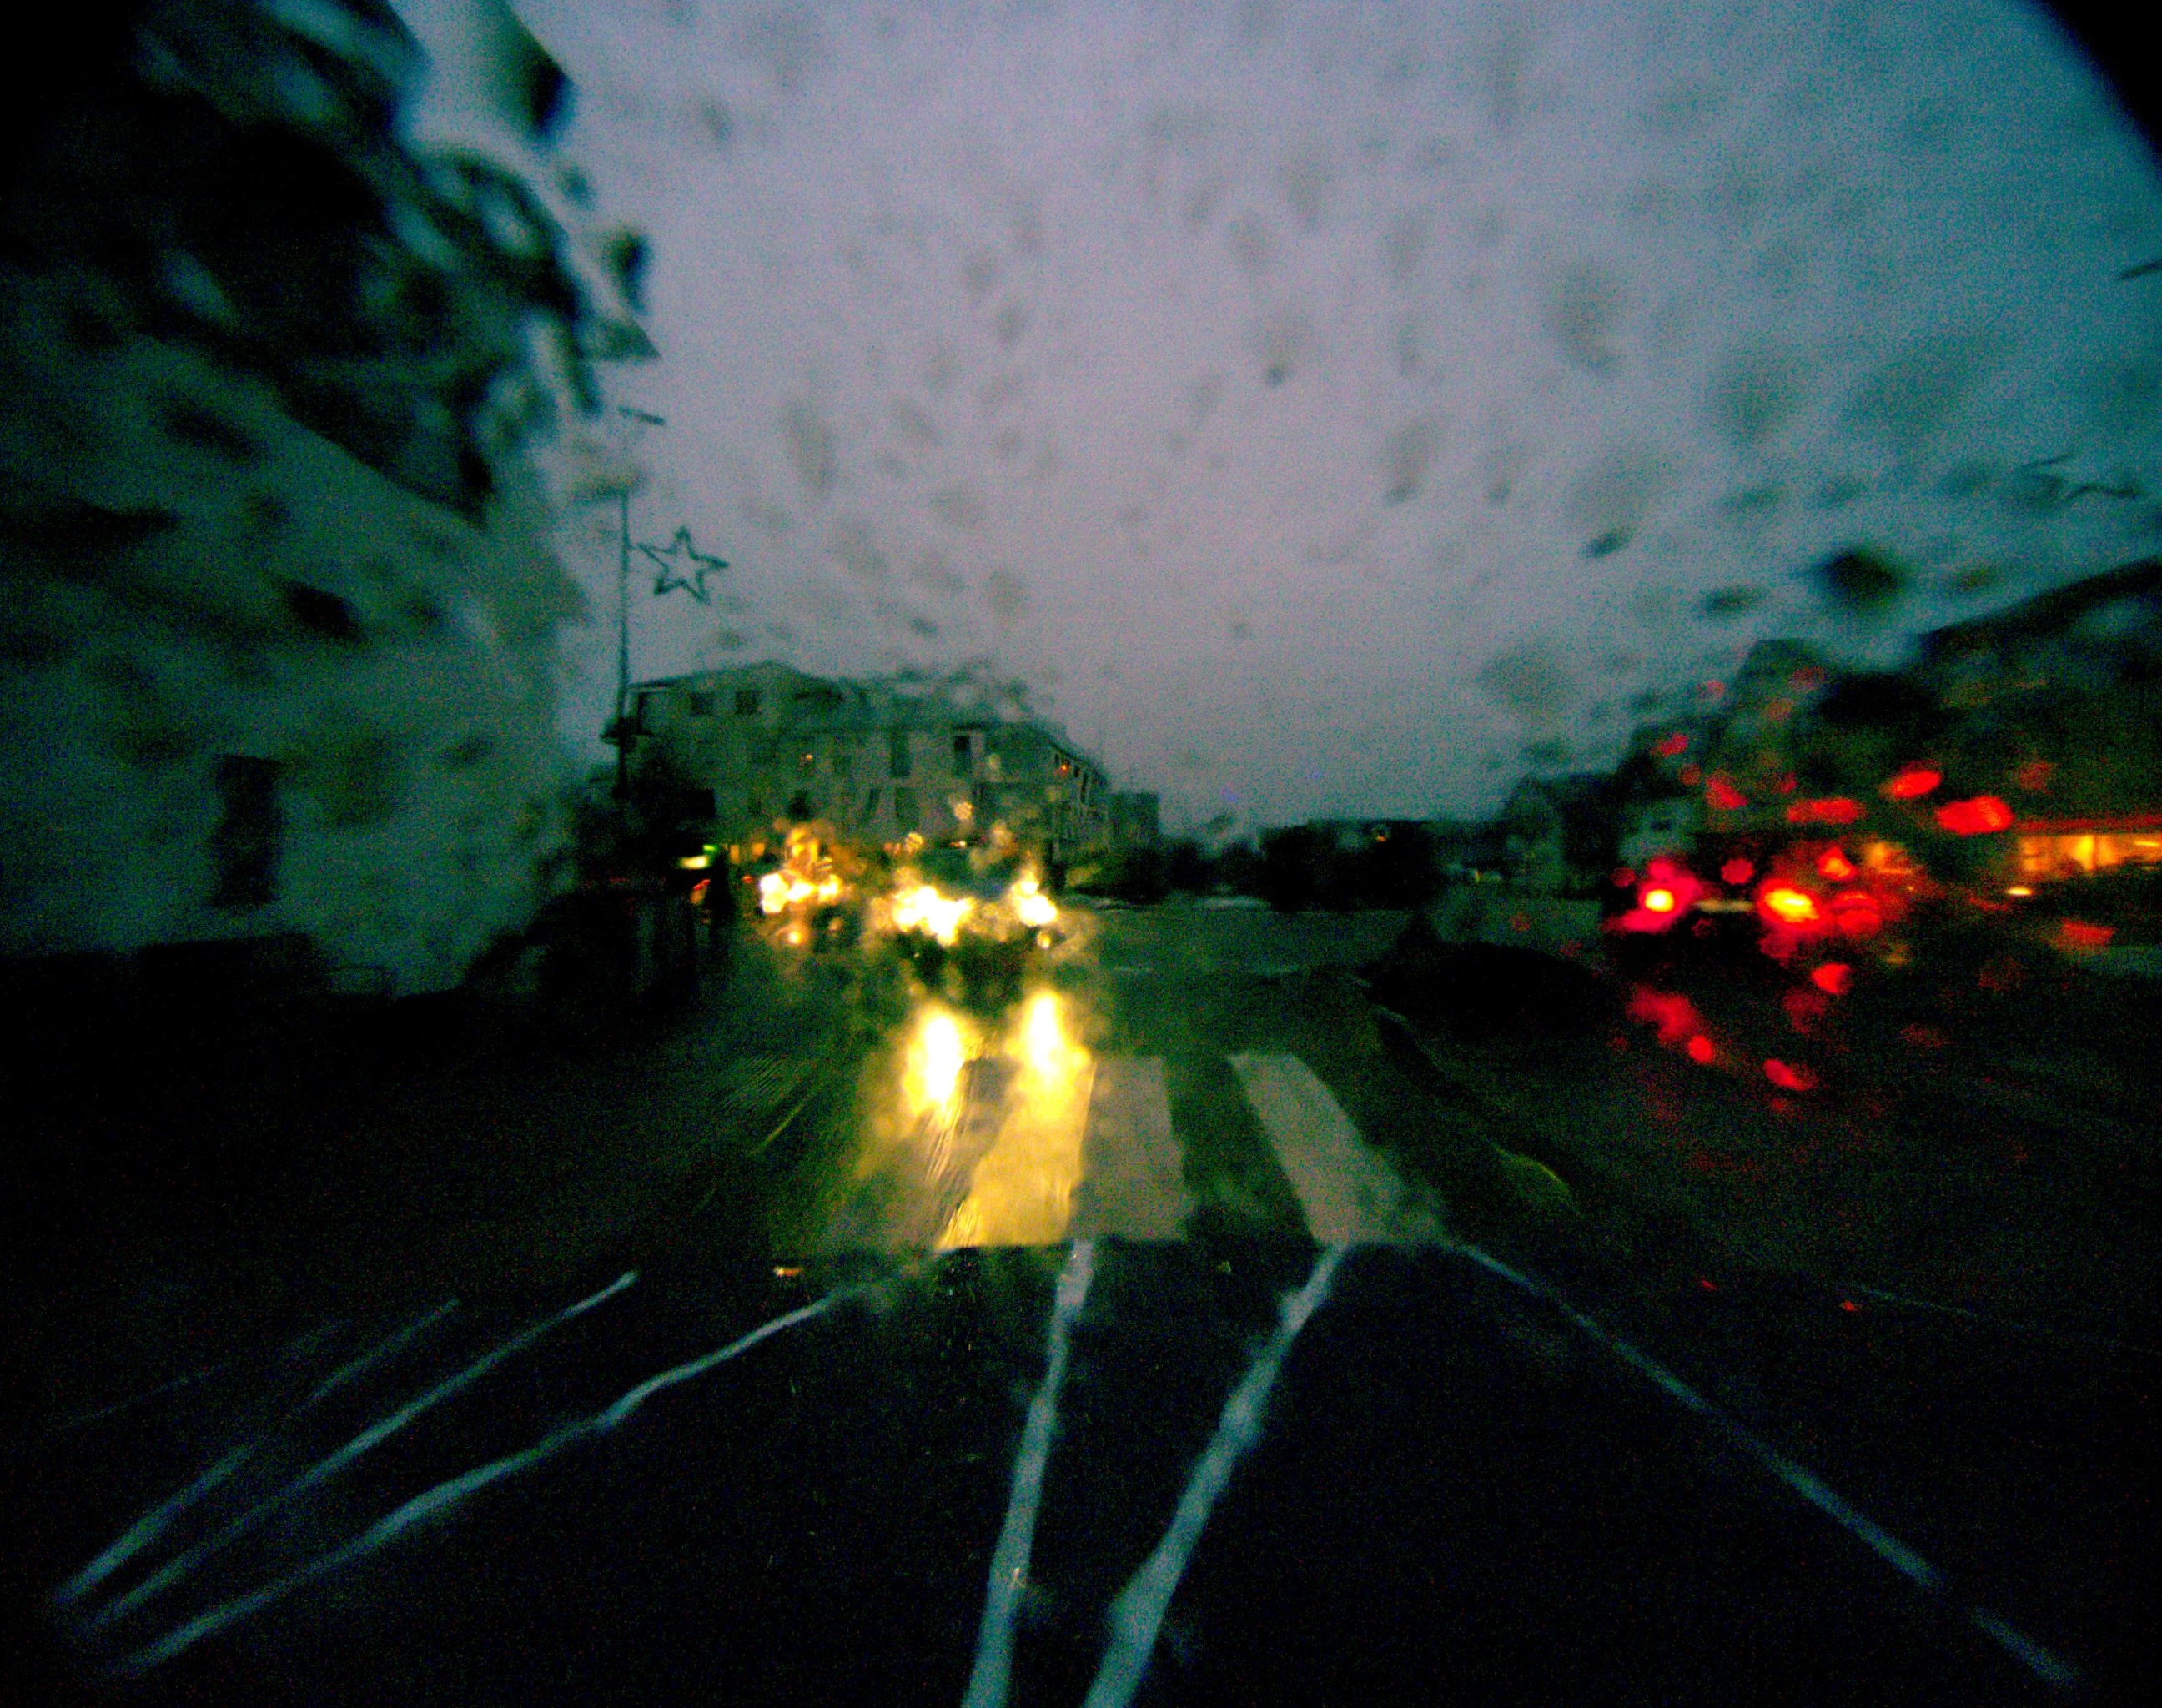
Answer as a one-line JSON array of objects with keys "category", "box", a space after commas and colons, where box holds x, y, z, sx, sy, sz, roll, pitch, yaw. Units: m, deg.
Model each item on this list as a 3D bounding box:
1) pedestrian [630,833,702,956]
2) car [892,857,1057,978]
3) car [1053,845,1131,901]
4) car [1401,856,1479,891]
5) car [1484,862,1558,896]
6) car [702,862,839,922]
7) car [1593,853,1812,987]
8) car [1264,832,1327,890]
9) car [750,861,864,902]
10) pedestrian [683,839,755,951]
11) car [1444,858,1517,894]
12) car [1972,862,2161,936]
[{"category": "pedestrian", "box": [-6.557, 0.603, 12.006, 0.789, 1.856, 0.711, 0, 3, 45]}, {"category": "car", "box": [-1.905, 0.848, 12.278, 1.961, 1.576, 4.103, -1, 0, -18]}, {"category": "car", "box": [0.358, 0.517, 23.647, 2.172, 1.469, 3.999, -2, 2, 1]}, {"category": "car", "box": [22.234, 1.168, 47.204, 1.974, 1.984, 3.991, -2, 2, -25]}, {"category": "car", "box": [27.629, 1.497, 47.806, 1.936, 1.871, 3.867, -2, 2, -12]}, {"category": "car", "box": [-8.774, 1.000, 21.381, 4.008, 1.471, 1.767, -1, 1, 38]}, {"category": "car", "box": [8.470, 0.761, 10.724, 1.703, 1.494, 3.906, -1, 0, 29]}, {"category": "car", "box": [8.231, 0.206, 28.905, 2.055, 1.976, 4.542, -1, 2, 18]}, {"category": "car", "box": [-11.254, 1.125, 31.488, 4.277, 1.436, 1.559, -2, 2, -15]}, {"category": "pedestrian", "box": [-5.947, 0.636, 12.488, 0.789, 1.752, 0.770, 0, 3, 45]}, {"category": "car", "box": [24.940, 1.304, 47.601, 1.926, 2.002, 3.967, -2, 2, -12]}, {"category": "car", "box": [24.819, 1.026, 18.040, 4.361, 1.596, 1.892, -1, 2, 32]}]
